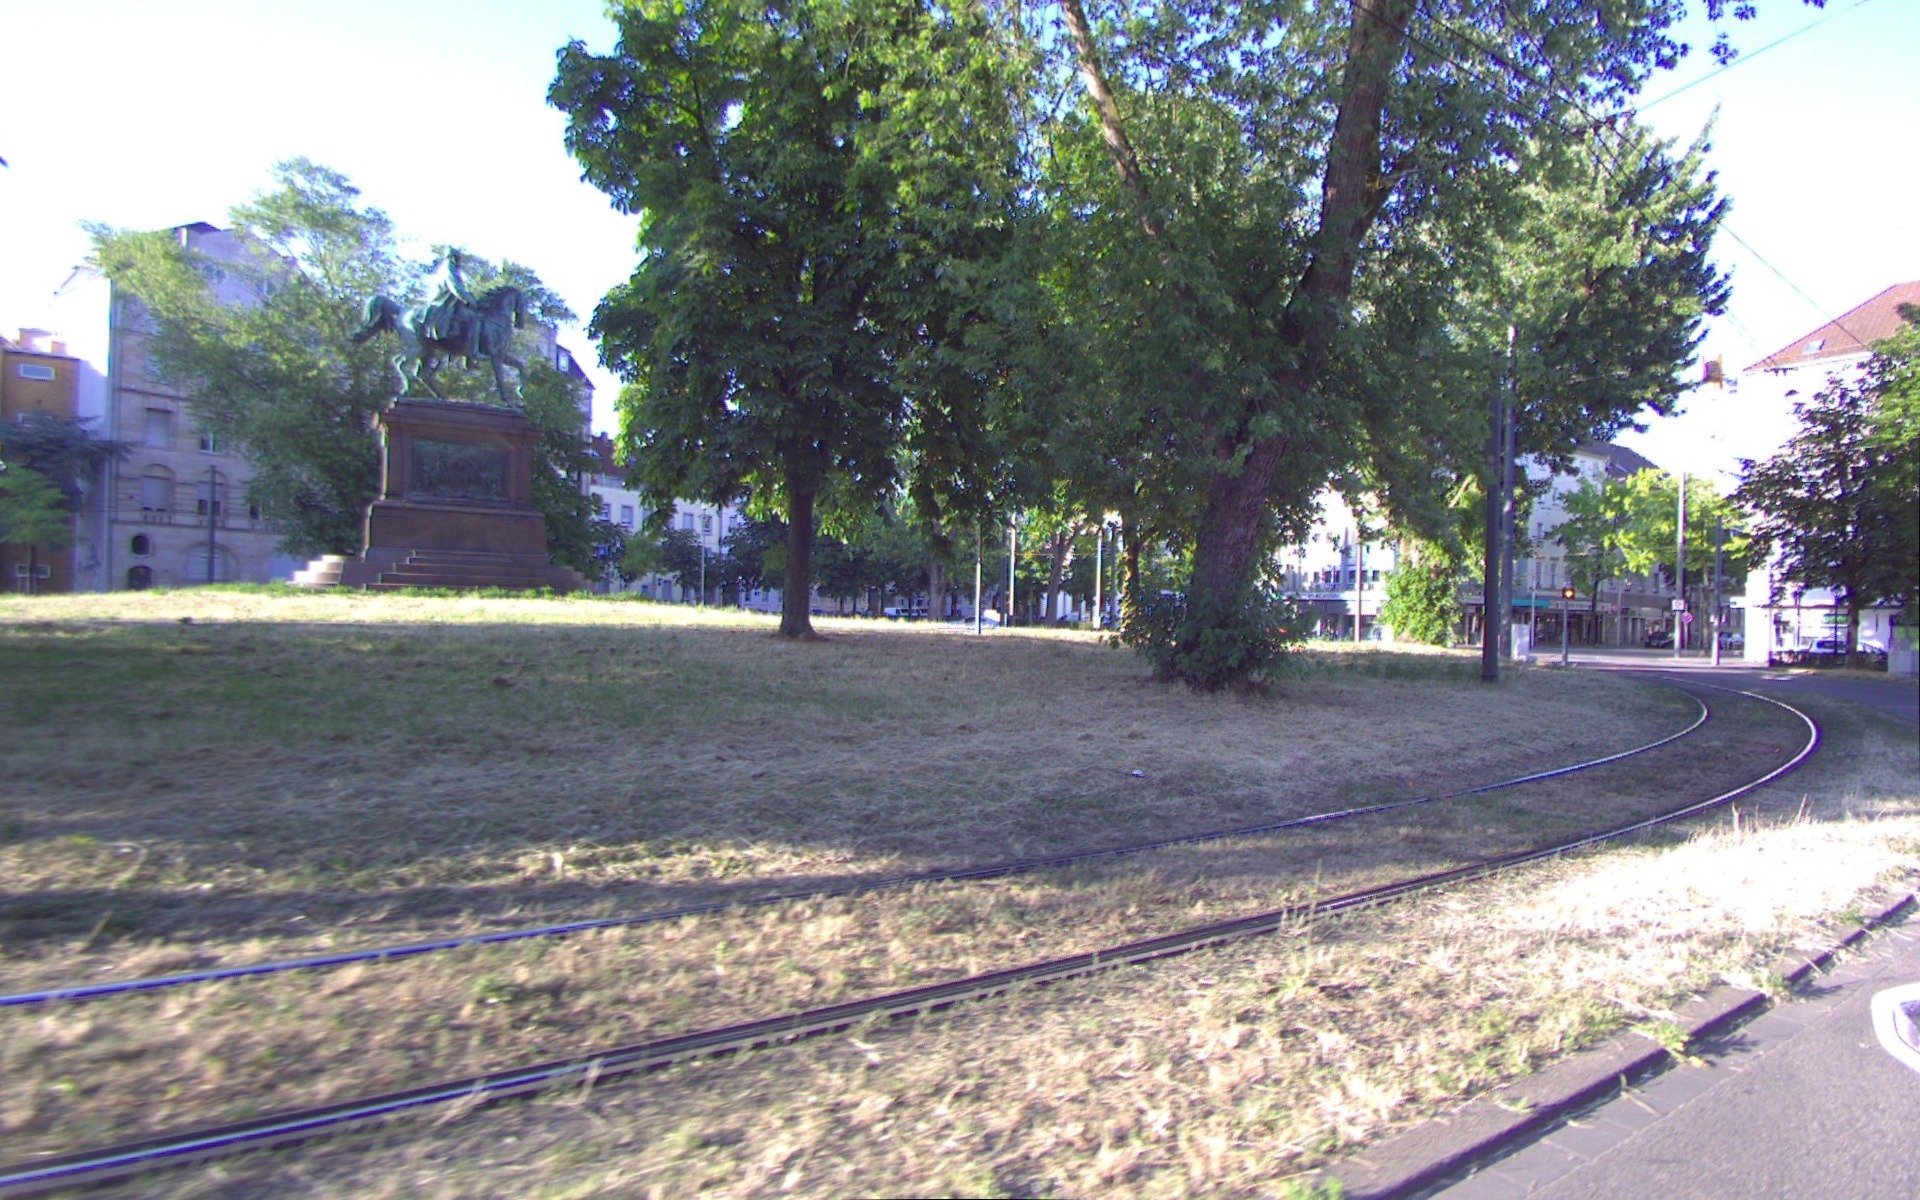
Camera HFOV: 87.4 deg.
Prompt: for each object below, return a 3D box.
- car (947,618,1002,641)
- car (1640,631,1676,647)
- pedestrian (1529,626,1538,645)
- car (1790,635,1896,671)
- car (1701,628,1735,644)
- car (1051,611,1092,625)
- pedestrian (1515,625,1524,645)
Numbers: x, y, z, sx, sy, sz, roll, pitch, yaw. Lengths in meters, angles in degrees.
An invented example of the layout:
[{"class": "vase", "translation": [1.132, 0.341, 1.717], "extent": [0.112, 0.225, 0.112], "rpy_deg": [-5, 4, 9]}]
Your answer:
[{"class": "car", "translation": [1.016, 2.124, 71.821], "extent": [3.877, 1.482, 1.592], "rpy_deg": [2, 0, -2]}, {"class": "car", "translation": [67.157, 3.753, 96.664], "extent": [3.587, 1.496, 1.646], "rpy_deg": [2, 0, -34]}, {"class": "pedestrian", "translation": [50.152, 3.106, 87.873], "extent": [0.535, 1.723, 0.476], "rpy_deg": [2, 0, -33]}, {"class": "car", "translation": [43.510, 2.591, 49.543], "extent": [1.644, 1.572, 3.593], "rpy_deg": [2, 0, -32]}, {"class": "car", "translation": [78.178, 3.702, 103.625], "extent": [3.584, 1.496, 1.648], "rpy_deg": [2, 0, -32]}, {"class": "car", "translation": [11.042, 1.758, 99.484], "extent": [1.591, 1.272, 3.919], "rpy_deg": [2, 0, -41]}, {"class": "pedestrian", "translation": [49.445, 3.076, 88.793], "extent": [0.535, 1.723, 0.476], "rpy_deg": [2, 0, -33]}]
